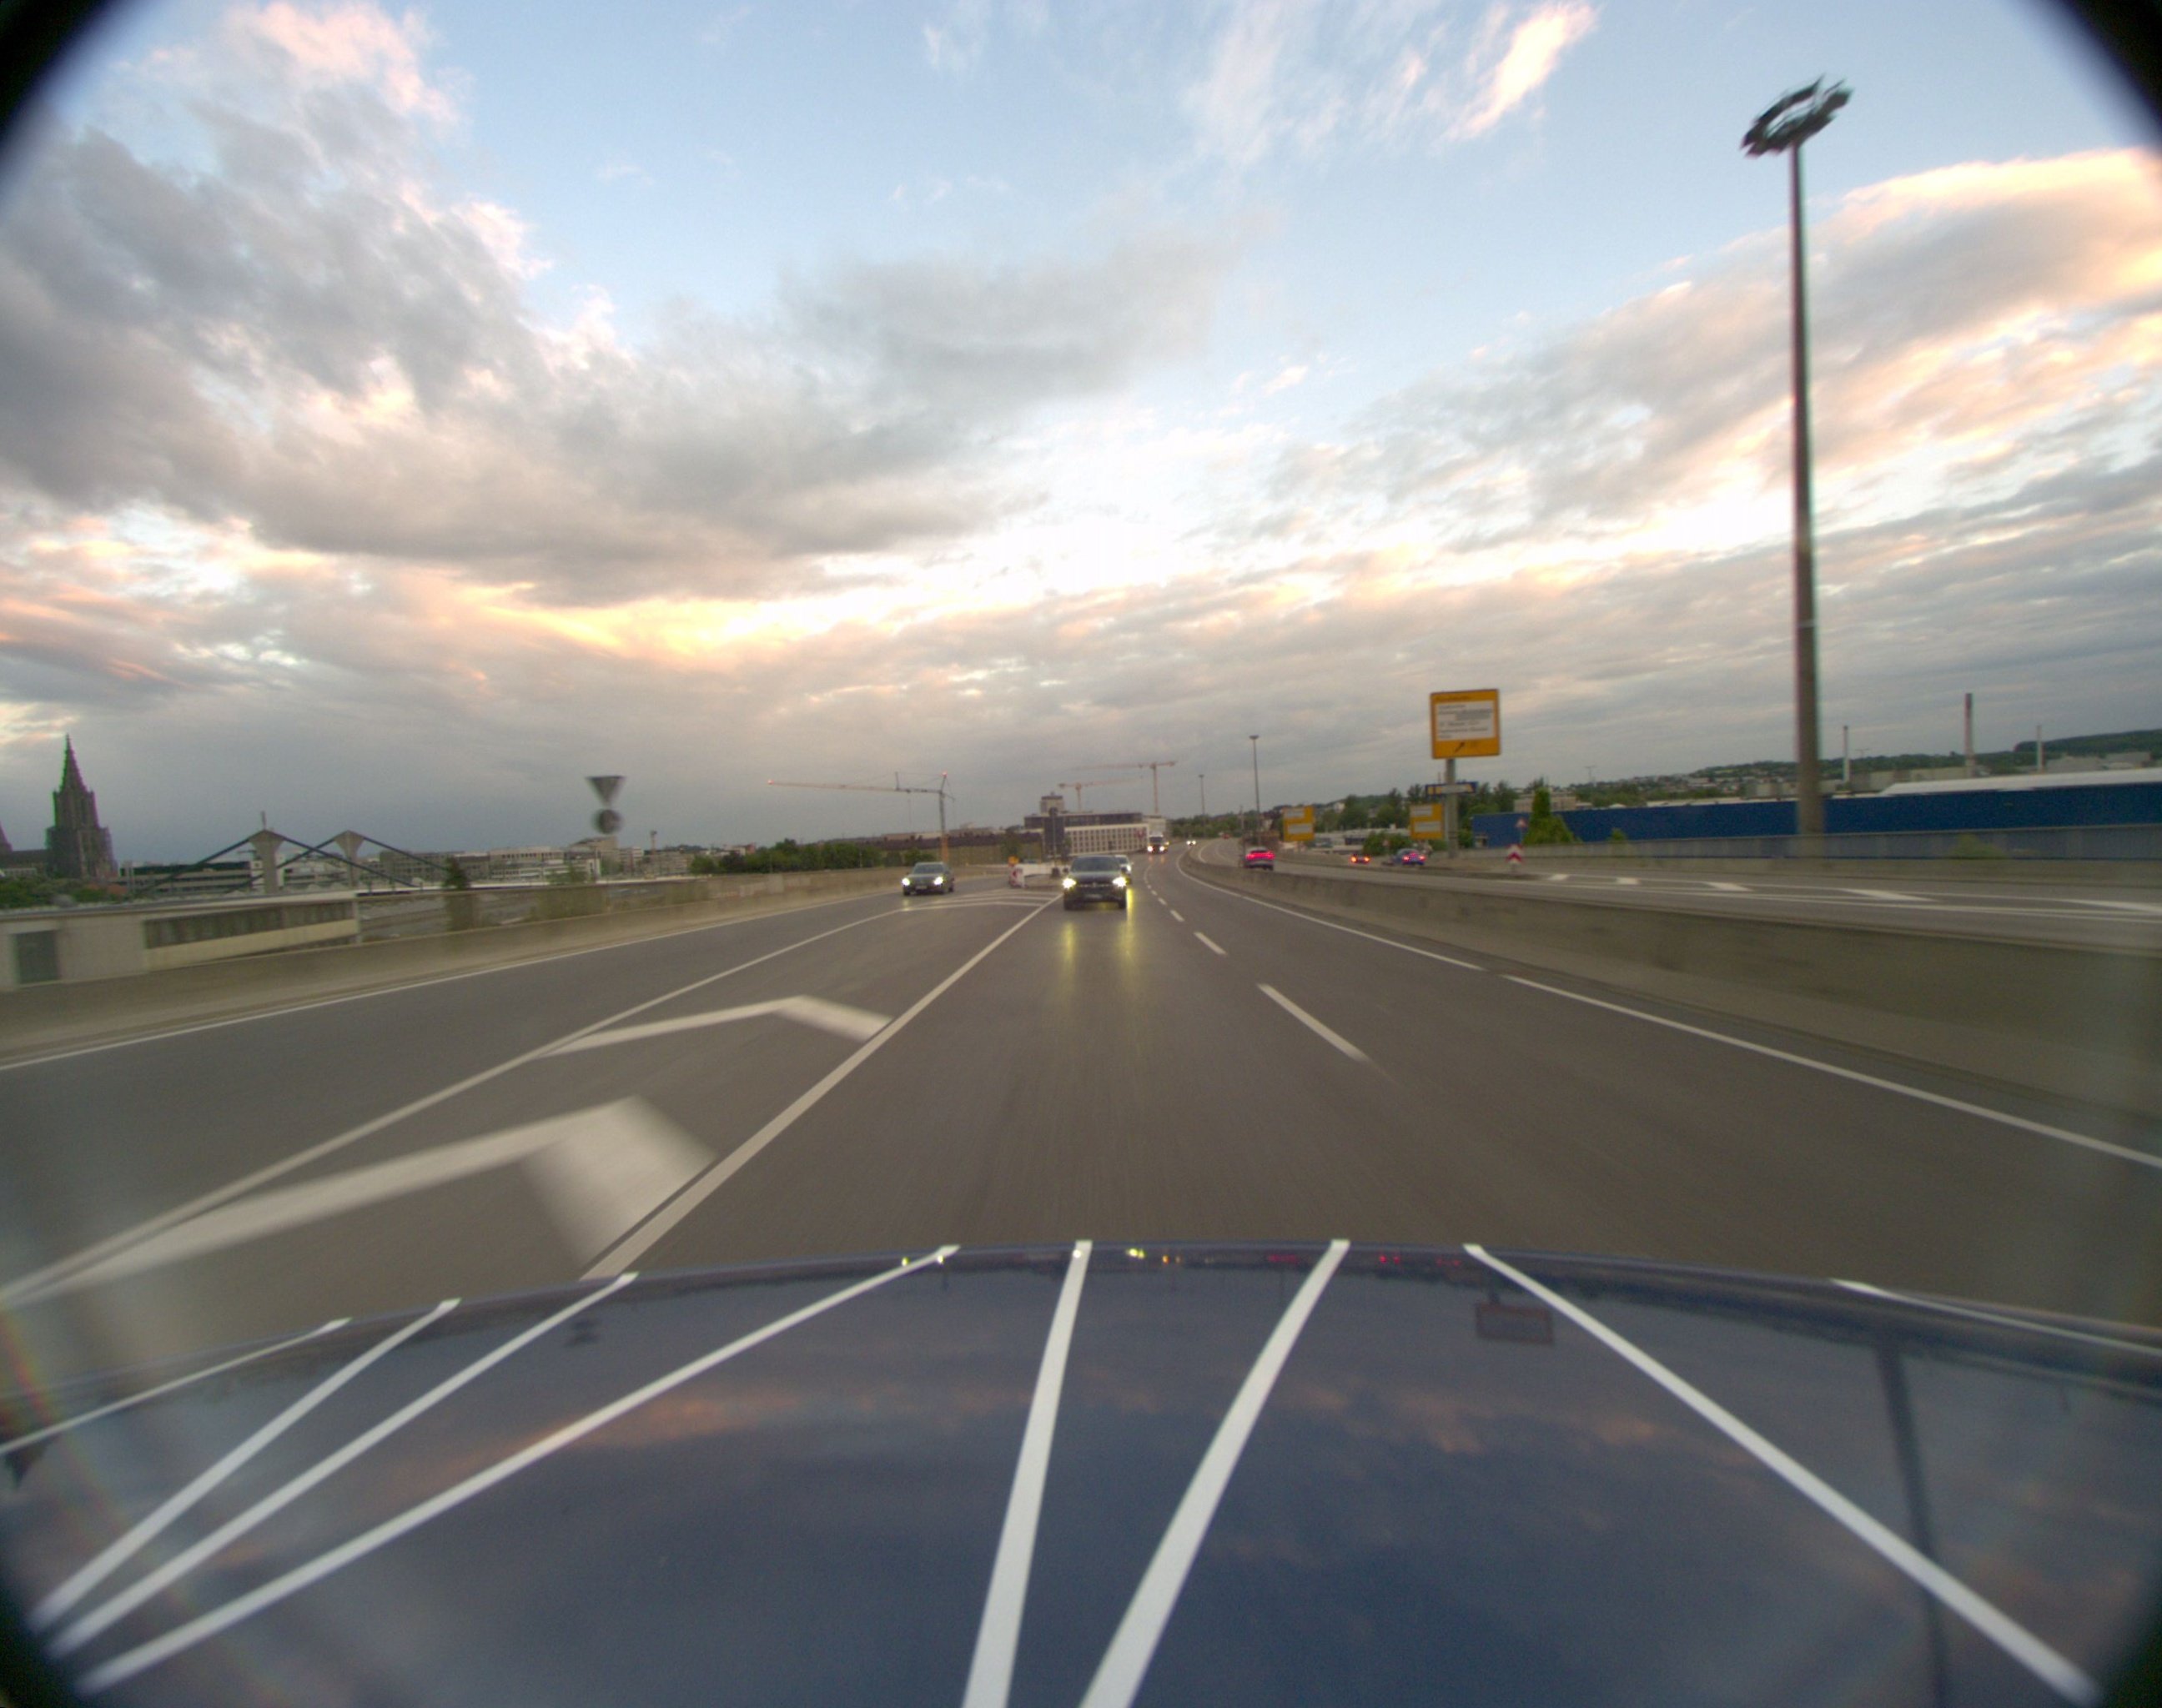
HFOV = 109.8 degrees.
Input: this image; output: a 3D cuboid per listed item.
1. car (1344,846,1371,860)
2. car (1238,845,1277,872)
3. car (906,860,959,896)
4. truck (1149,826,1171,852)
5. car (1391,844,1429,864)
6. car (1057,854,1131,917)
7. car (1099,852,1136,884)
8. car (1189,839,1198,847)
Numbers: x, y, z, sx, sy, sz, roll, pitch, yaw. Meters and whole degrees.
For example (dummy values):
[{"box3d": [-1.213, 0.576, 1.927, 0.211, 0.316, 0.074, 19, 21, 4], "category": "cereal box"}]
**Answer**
[{"box3d": [30.025, -0.132, 82.634, 1.800, 1.477, 3.843, -2, 0, 7], "category": "car"}, {"box3d": [11.438, 0.234, 49.535, 1.815, 1.525, 4.546, -2, 2, 5], "category": "car"}, {"box3d": [-6.937, 1.090, 35.771, 1.754, 1.482, 3.999, -2, 0, -2], "category": "car"}, {"box3d": [14.177, -2.758, 135.765, 3.163, 4.370, 8.796, -2, 2, 10], "category": "truck"}, {"box3d": [27.696, -0.028, 64.148, 1.901, 1.586, 4.165, -2, 0, 9], "category": "car"}, {"box3d": [0.474, 0.826, 21.737, 1.823, 1.602, 4.214, -2, 0, 4], "category": "car"}, {"box3d": [2.113, 0.745, 43.391, 1.890, 1.641, 4.345, -3, 0, 5], "category": "car"}, {"box3d": [29.651, -2.822, 199.753, 1.997, 2.002, 4.003, -2, 1, 12], "category": "car"}]
